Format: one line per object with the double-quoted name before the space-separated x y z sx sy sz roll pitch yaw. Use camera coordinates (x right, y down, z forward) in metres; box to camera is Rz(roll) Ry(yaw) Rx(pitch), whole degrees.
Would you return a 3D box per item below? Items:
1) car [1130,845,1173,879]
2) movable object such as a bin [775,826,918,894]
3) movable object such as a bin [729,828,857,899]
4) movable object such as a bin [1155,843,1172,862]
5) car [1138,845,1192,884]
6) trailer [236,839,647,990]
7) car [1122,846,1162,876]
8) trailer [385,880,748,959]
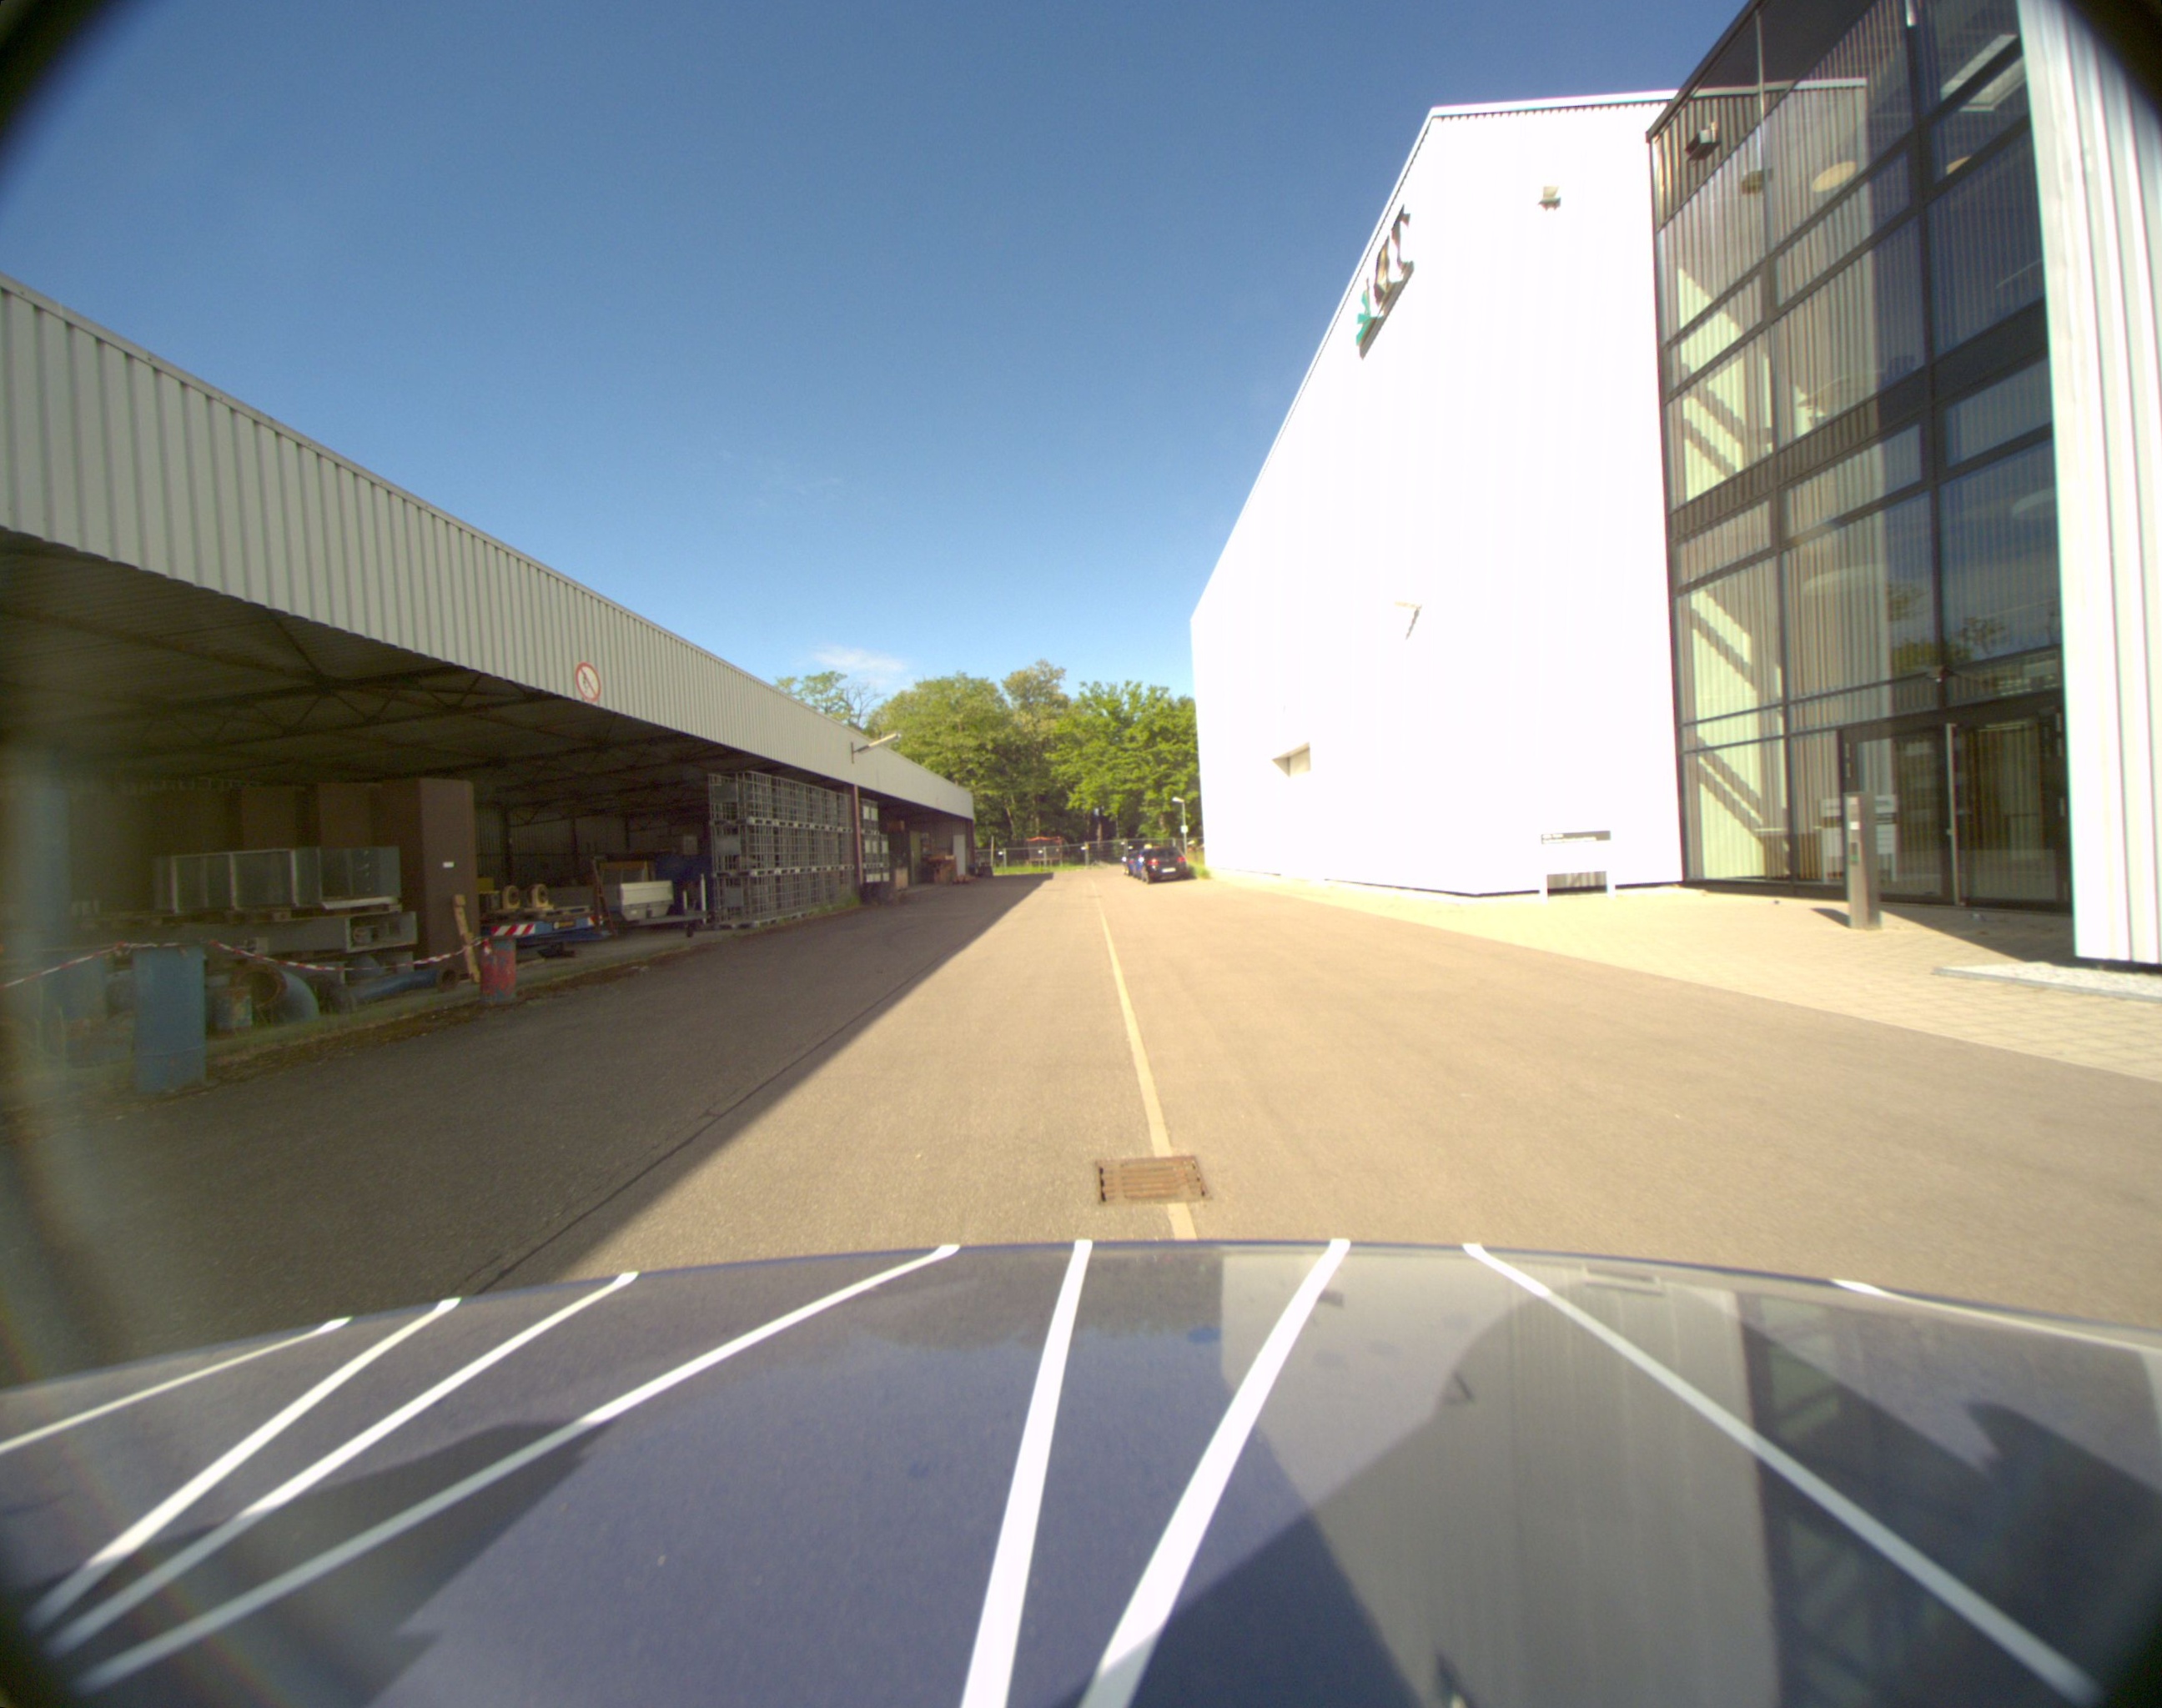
"car" 3.416 0.375 37.335 1.552 1.480 3.522 -5 0 -1
"movable object such as a bin" -11.192 0.273 36.643 5.848 2.908 2.820 -3 1 1
"movable object such as a bin" -12.553 0.404 33.376 4.537 2.814 2.497 -3 0 1
"movable object such as a bin" 6.332 -0.122 58.580 1.141 1.426 1.289 -2 1 1
"car" 3.535 0.415 32.591 1.760 1.437 4.314 -5 0 1
"trailer" -9.548 0.837 11.683 4.433 1.979 2.163 -2 1 2
"car" 3.386 0.378 42.846 1.716 1.440 3.797 -5 0 -1
"trailer" -9.929 1.241 15.031 5.743 1.178 1.974 -2 1 -1
